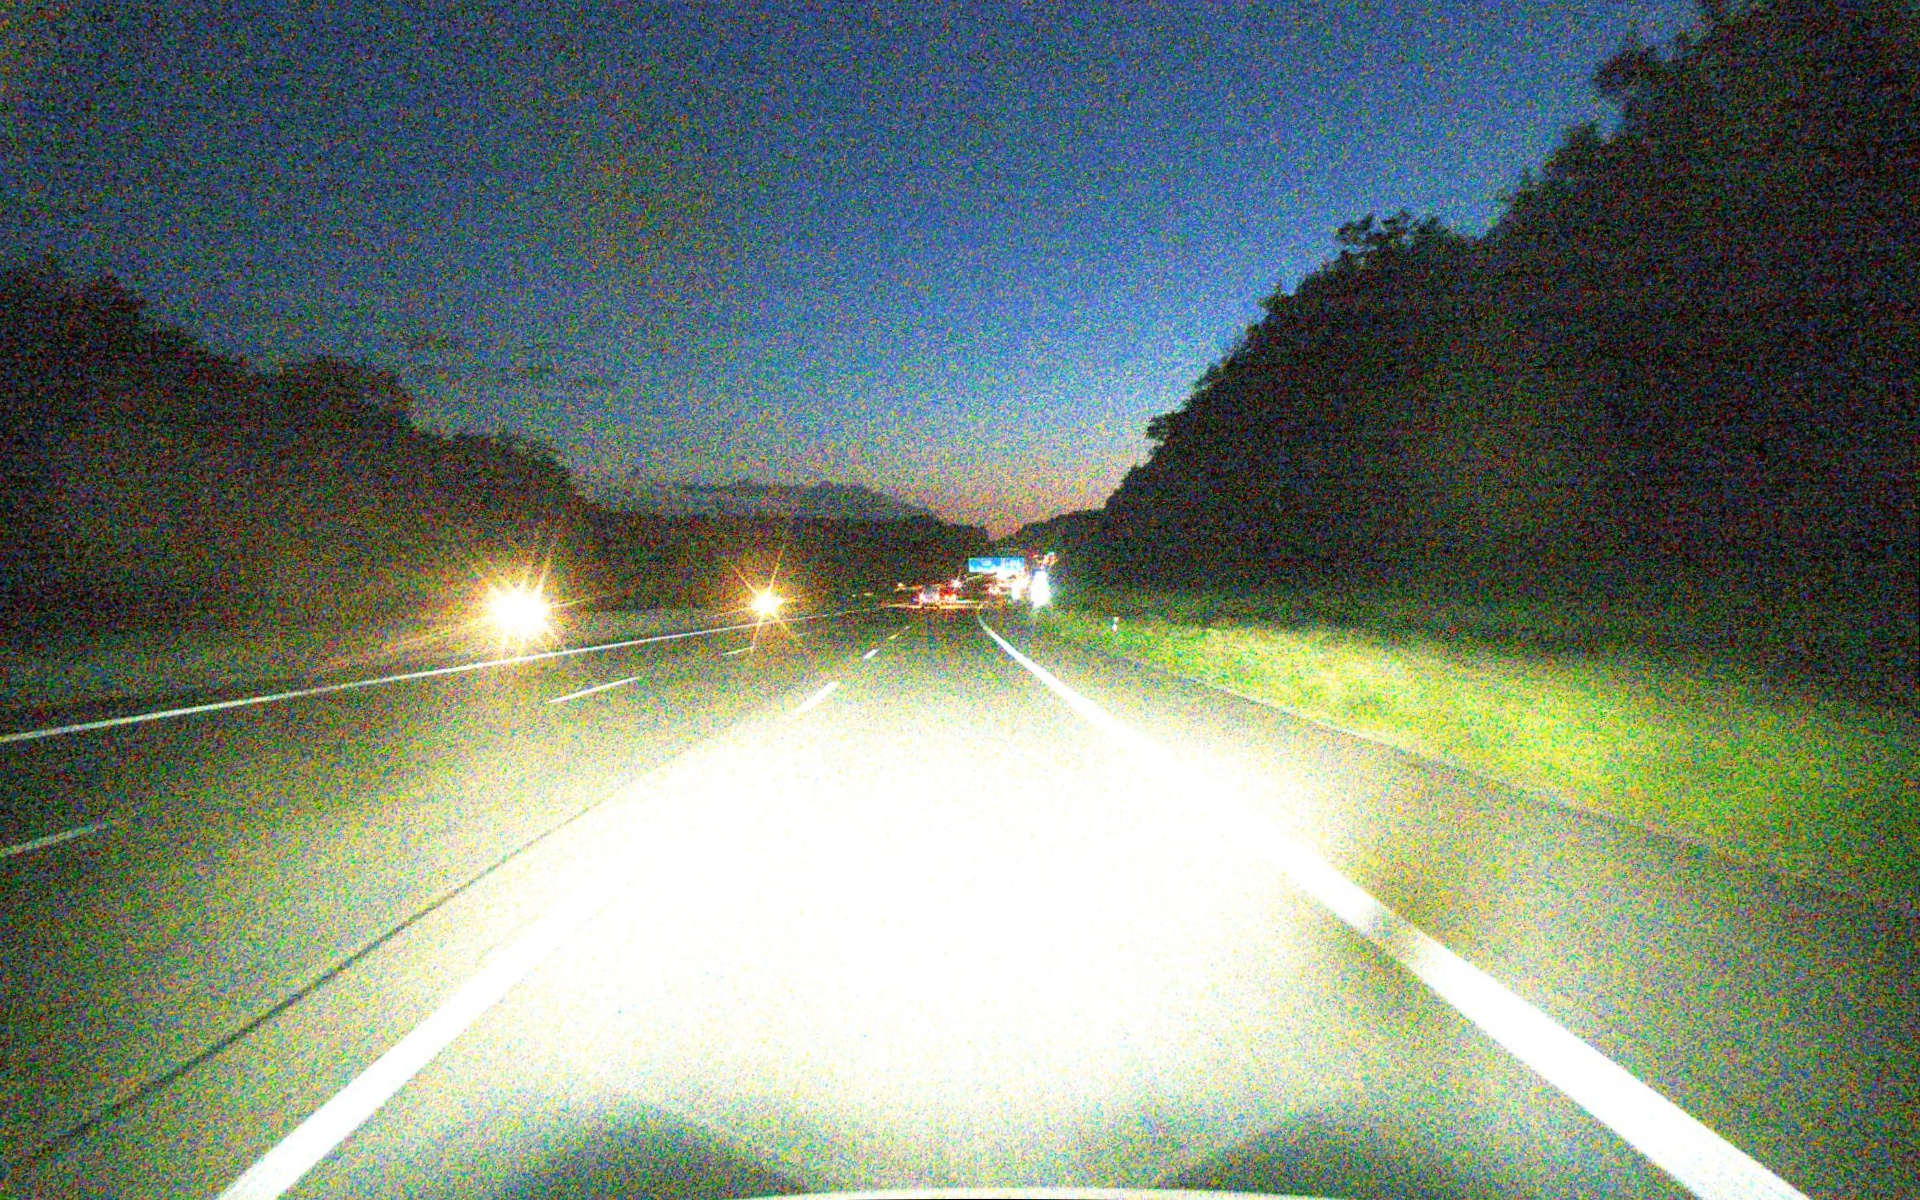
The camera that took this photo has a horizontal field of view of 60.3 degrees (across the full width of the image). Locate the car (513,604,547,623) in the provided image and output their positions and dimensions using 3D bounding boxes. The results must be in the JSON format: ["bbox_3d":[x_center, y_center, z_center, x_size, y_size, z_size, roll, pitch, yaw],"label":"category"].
[{"bbox_3d":[-29.788,0.920,114.633,1.560,1.287,3.997,0,0,-3],"label":"car"}]

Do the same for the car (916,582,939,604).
[{"bbox_3d":[-3.656,-0.783,186.227,2.459,2.354,4.970,0,0,0],"label":"car"}]
